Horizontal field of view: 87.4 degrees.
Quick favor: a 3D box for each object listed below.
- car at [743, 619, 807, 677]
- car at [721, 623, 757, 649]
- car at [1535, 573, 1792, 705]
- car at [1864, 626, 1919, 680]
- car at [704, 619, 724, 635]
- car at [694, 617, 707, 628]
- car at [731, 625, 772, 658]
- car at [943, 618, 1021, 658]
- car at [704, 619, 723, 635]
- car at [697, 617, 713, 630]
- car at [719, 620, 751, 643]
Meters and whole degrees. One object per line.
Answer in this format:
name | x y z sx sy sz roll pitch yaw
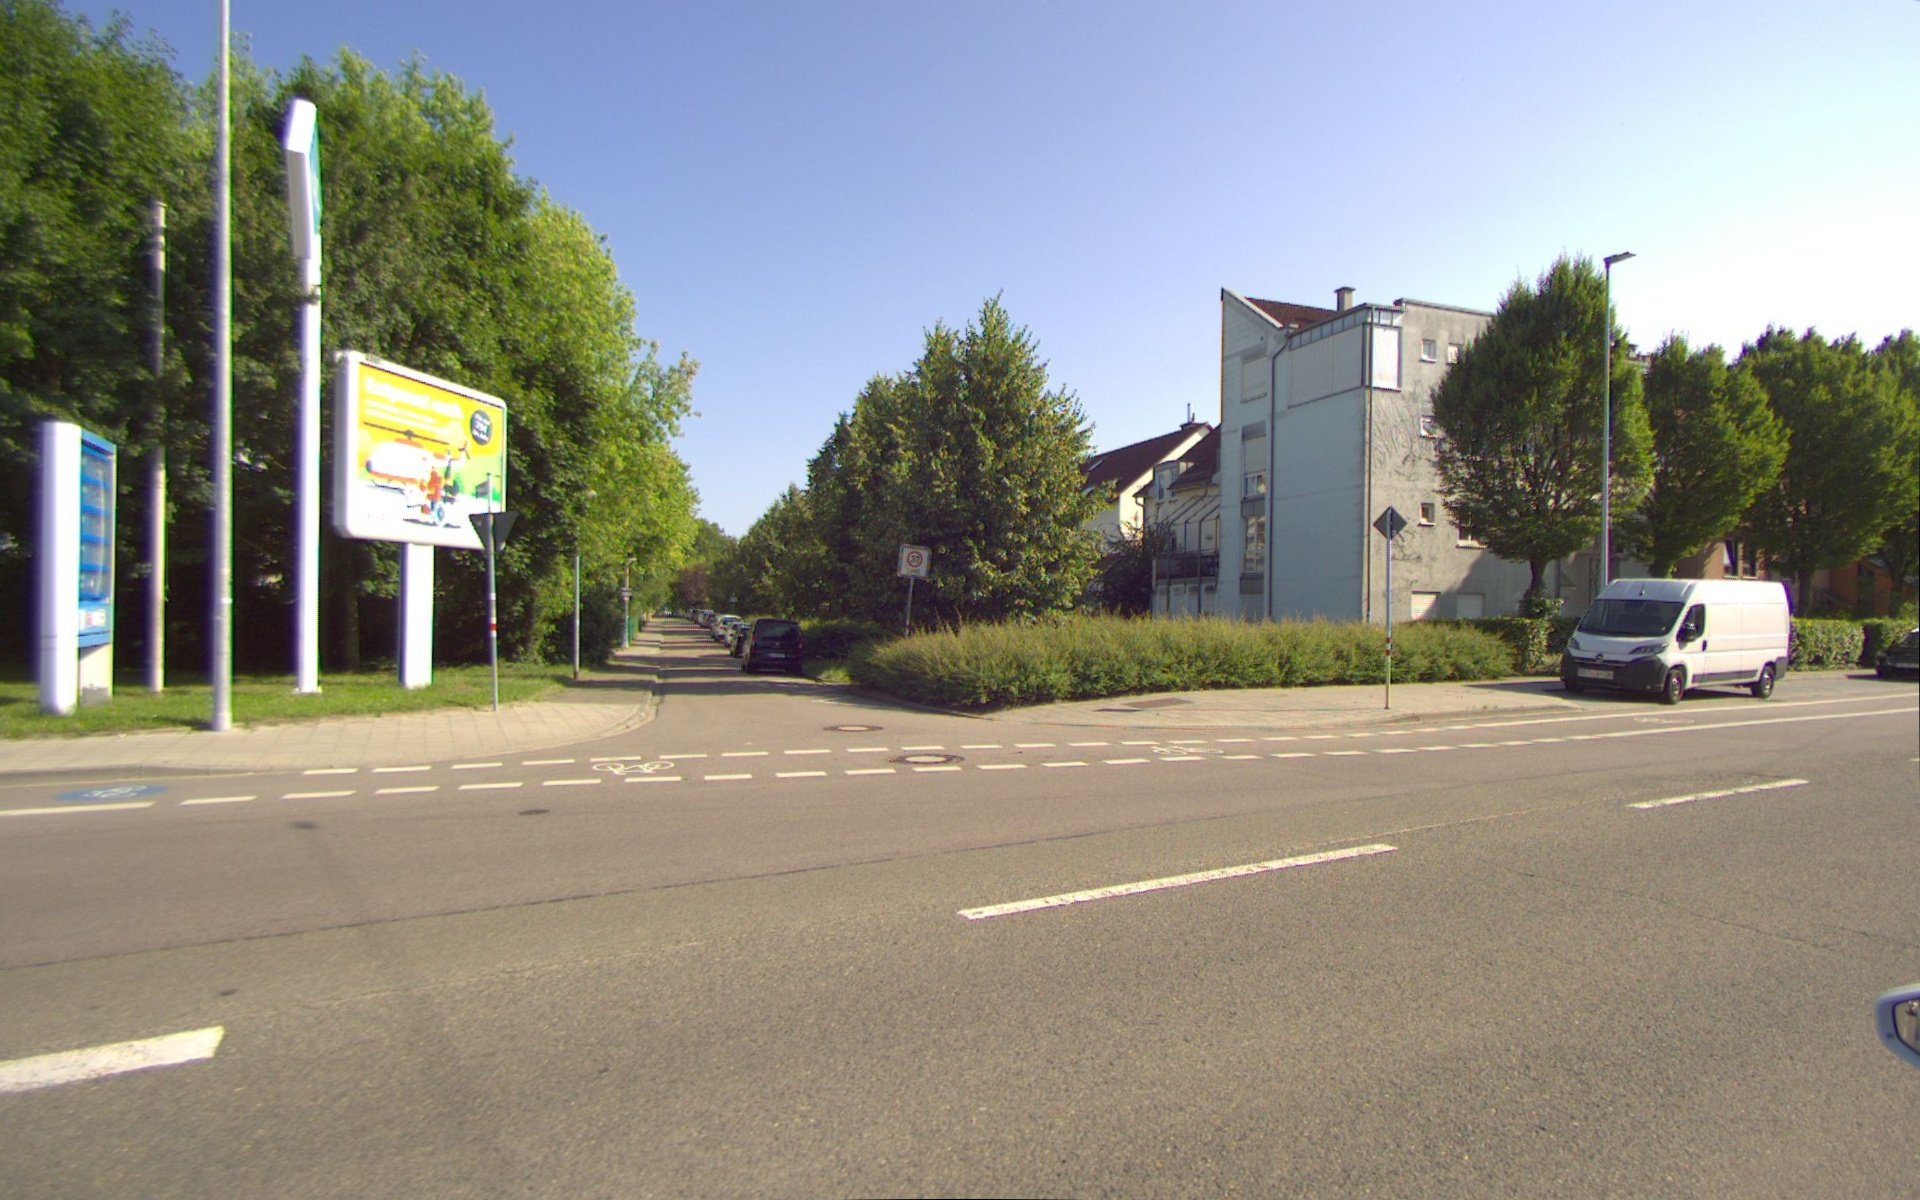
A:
car | -6.150 1.535 33.105 1.743 1.719 3.988 3 -2 -15
car | -12.731 2.031 57.812 1.848 1.409 3.988 1 -1 -15
car | 15.179 0.755 21.560 6.112 2.491 2.141 1 2 -31
car | 27.899 1.470 28.678 4.654 1.443 1.645 1 -1 -28
car | -22.274 2.444 91.000 1.662 1.428 3.988 1 -1 -15
car | -35.093 3.080 135.964 1.713 1.445 3.988 1 -1 -15
car | -9.779 1.916 46.857 1.677 1.409 3.988 1 -1 -15
car | 0.725 1.314 35.596 1.716 1.285 3.782 1 -1 -17
car | -23.793 2.581 96.874 1.713 1.445 3.988 1 -1 -15
car | -29.451 2.726 116.021 1.713 1.445 3.988 1 -1 -15
car | -14.477 2.017 64.414 1.848 1.409 3.988 1 -1 -15
